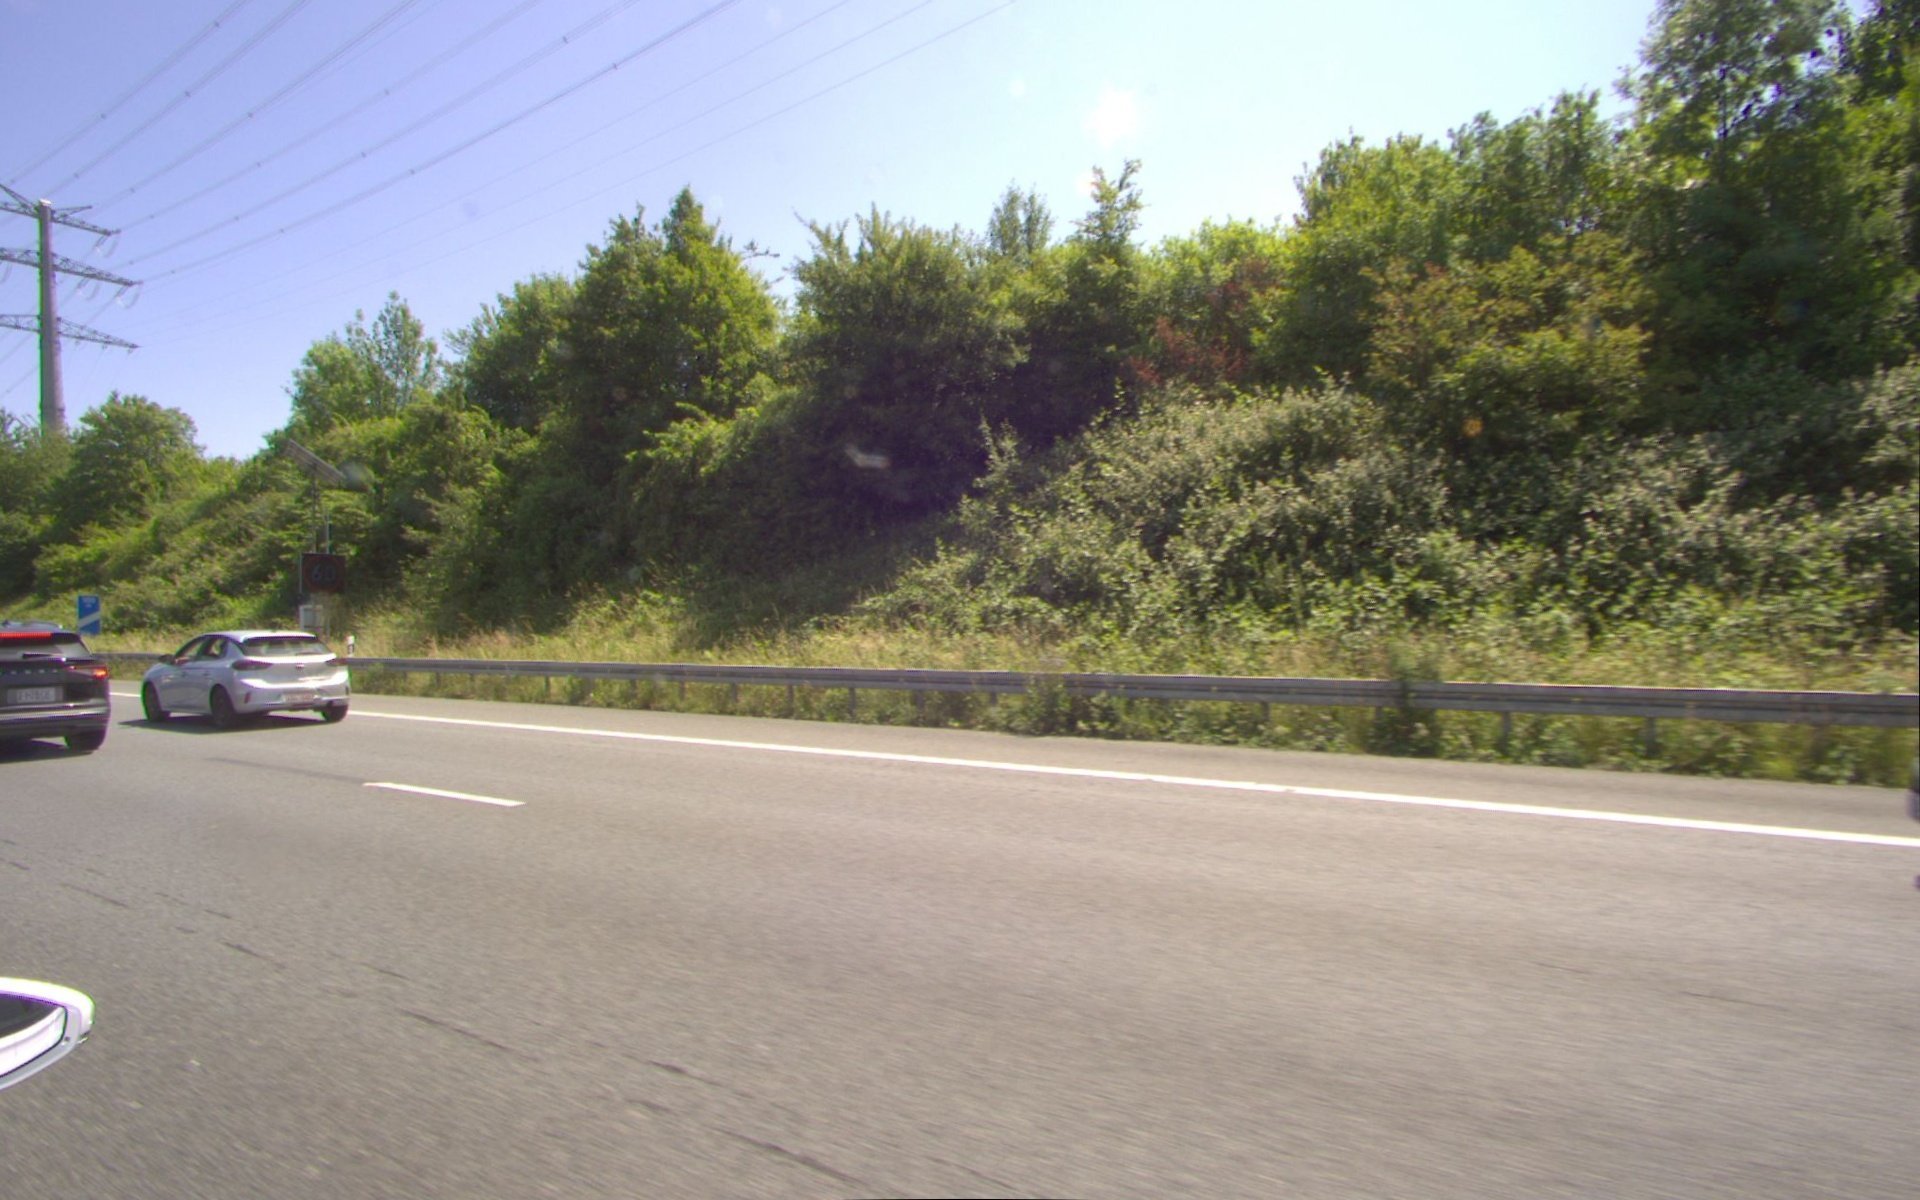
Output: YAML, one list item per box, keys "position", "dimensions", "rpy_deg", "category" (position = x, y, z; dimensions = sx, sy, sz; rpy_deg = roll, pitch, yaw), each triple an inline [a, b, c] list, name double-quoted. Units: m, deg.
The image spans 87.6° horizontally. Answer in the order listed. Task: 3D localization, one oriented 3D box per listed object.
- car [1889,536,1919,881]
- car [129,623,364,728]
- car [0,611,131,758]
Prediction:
- position: [7.155, 0.561, 4.086]
  dimensions: [4.630, 1.928, 1.781]
  rpy_deg: [-1, -2, 32]
  category: "car"
- position: [-11.507, 1.127, 16.093]
  dimensions: [3.957, 1.489, 1.738]
  rpy_deg: [-1, -1, 33]
  category: "car"
- position: [-12.400, 0.973, 12.550]
  dimensions: [4.367, 1.635, 1.825]
  rpy_deg: [-1, -1, 32]
  category: "car"
